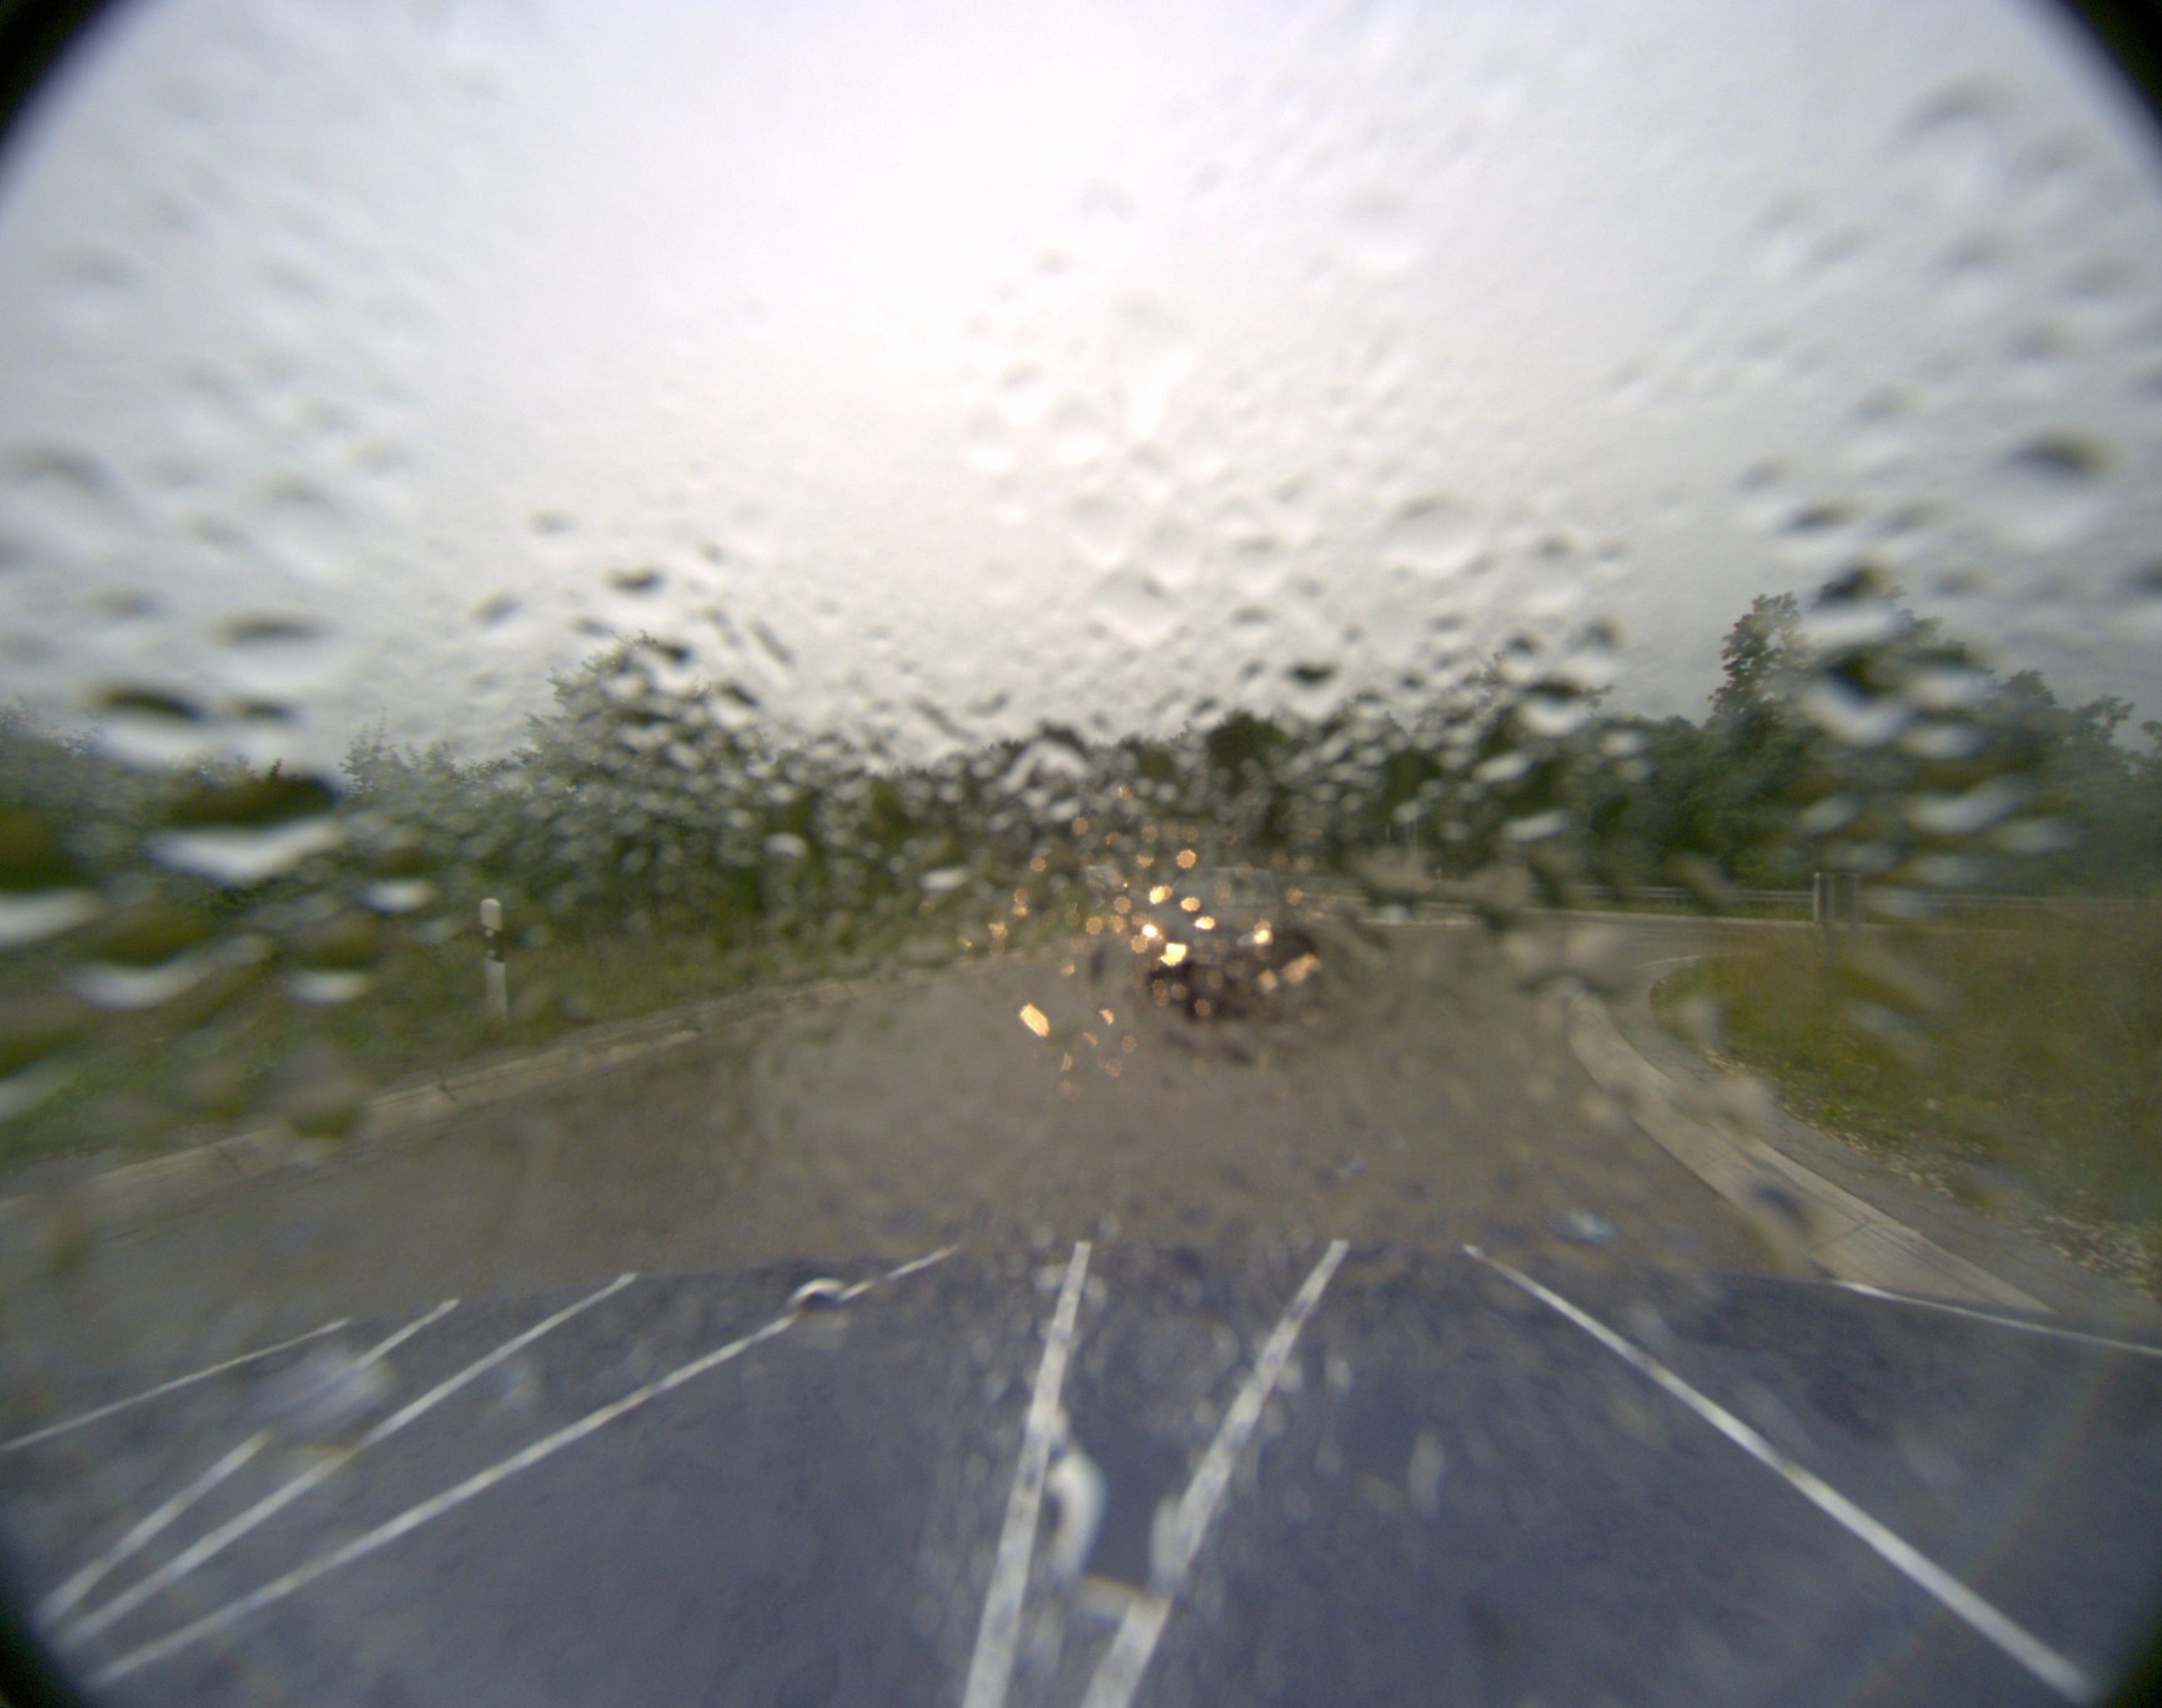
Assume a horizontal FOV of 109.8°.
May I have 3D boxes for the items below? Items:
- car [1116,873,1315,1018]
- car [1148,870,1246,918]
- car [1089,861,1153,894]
[{"bbox_3d":[2.037,0.997,10.193,1.870,1.412,4.511,0,-1,20],"label":"car"},{"bbox_3d":[3.558,1.214,24.178,1.950,1.363,4.501,1,-1,-7],"label":"car"},{"bbox_3d":[1.760,1.081,34.950,1.765,1.412,4.499,1,-1,-13],"label":"car"}]
